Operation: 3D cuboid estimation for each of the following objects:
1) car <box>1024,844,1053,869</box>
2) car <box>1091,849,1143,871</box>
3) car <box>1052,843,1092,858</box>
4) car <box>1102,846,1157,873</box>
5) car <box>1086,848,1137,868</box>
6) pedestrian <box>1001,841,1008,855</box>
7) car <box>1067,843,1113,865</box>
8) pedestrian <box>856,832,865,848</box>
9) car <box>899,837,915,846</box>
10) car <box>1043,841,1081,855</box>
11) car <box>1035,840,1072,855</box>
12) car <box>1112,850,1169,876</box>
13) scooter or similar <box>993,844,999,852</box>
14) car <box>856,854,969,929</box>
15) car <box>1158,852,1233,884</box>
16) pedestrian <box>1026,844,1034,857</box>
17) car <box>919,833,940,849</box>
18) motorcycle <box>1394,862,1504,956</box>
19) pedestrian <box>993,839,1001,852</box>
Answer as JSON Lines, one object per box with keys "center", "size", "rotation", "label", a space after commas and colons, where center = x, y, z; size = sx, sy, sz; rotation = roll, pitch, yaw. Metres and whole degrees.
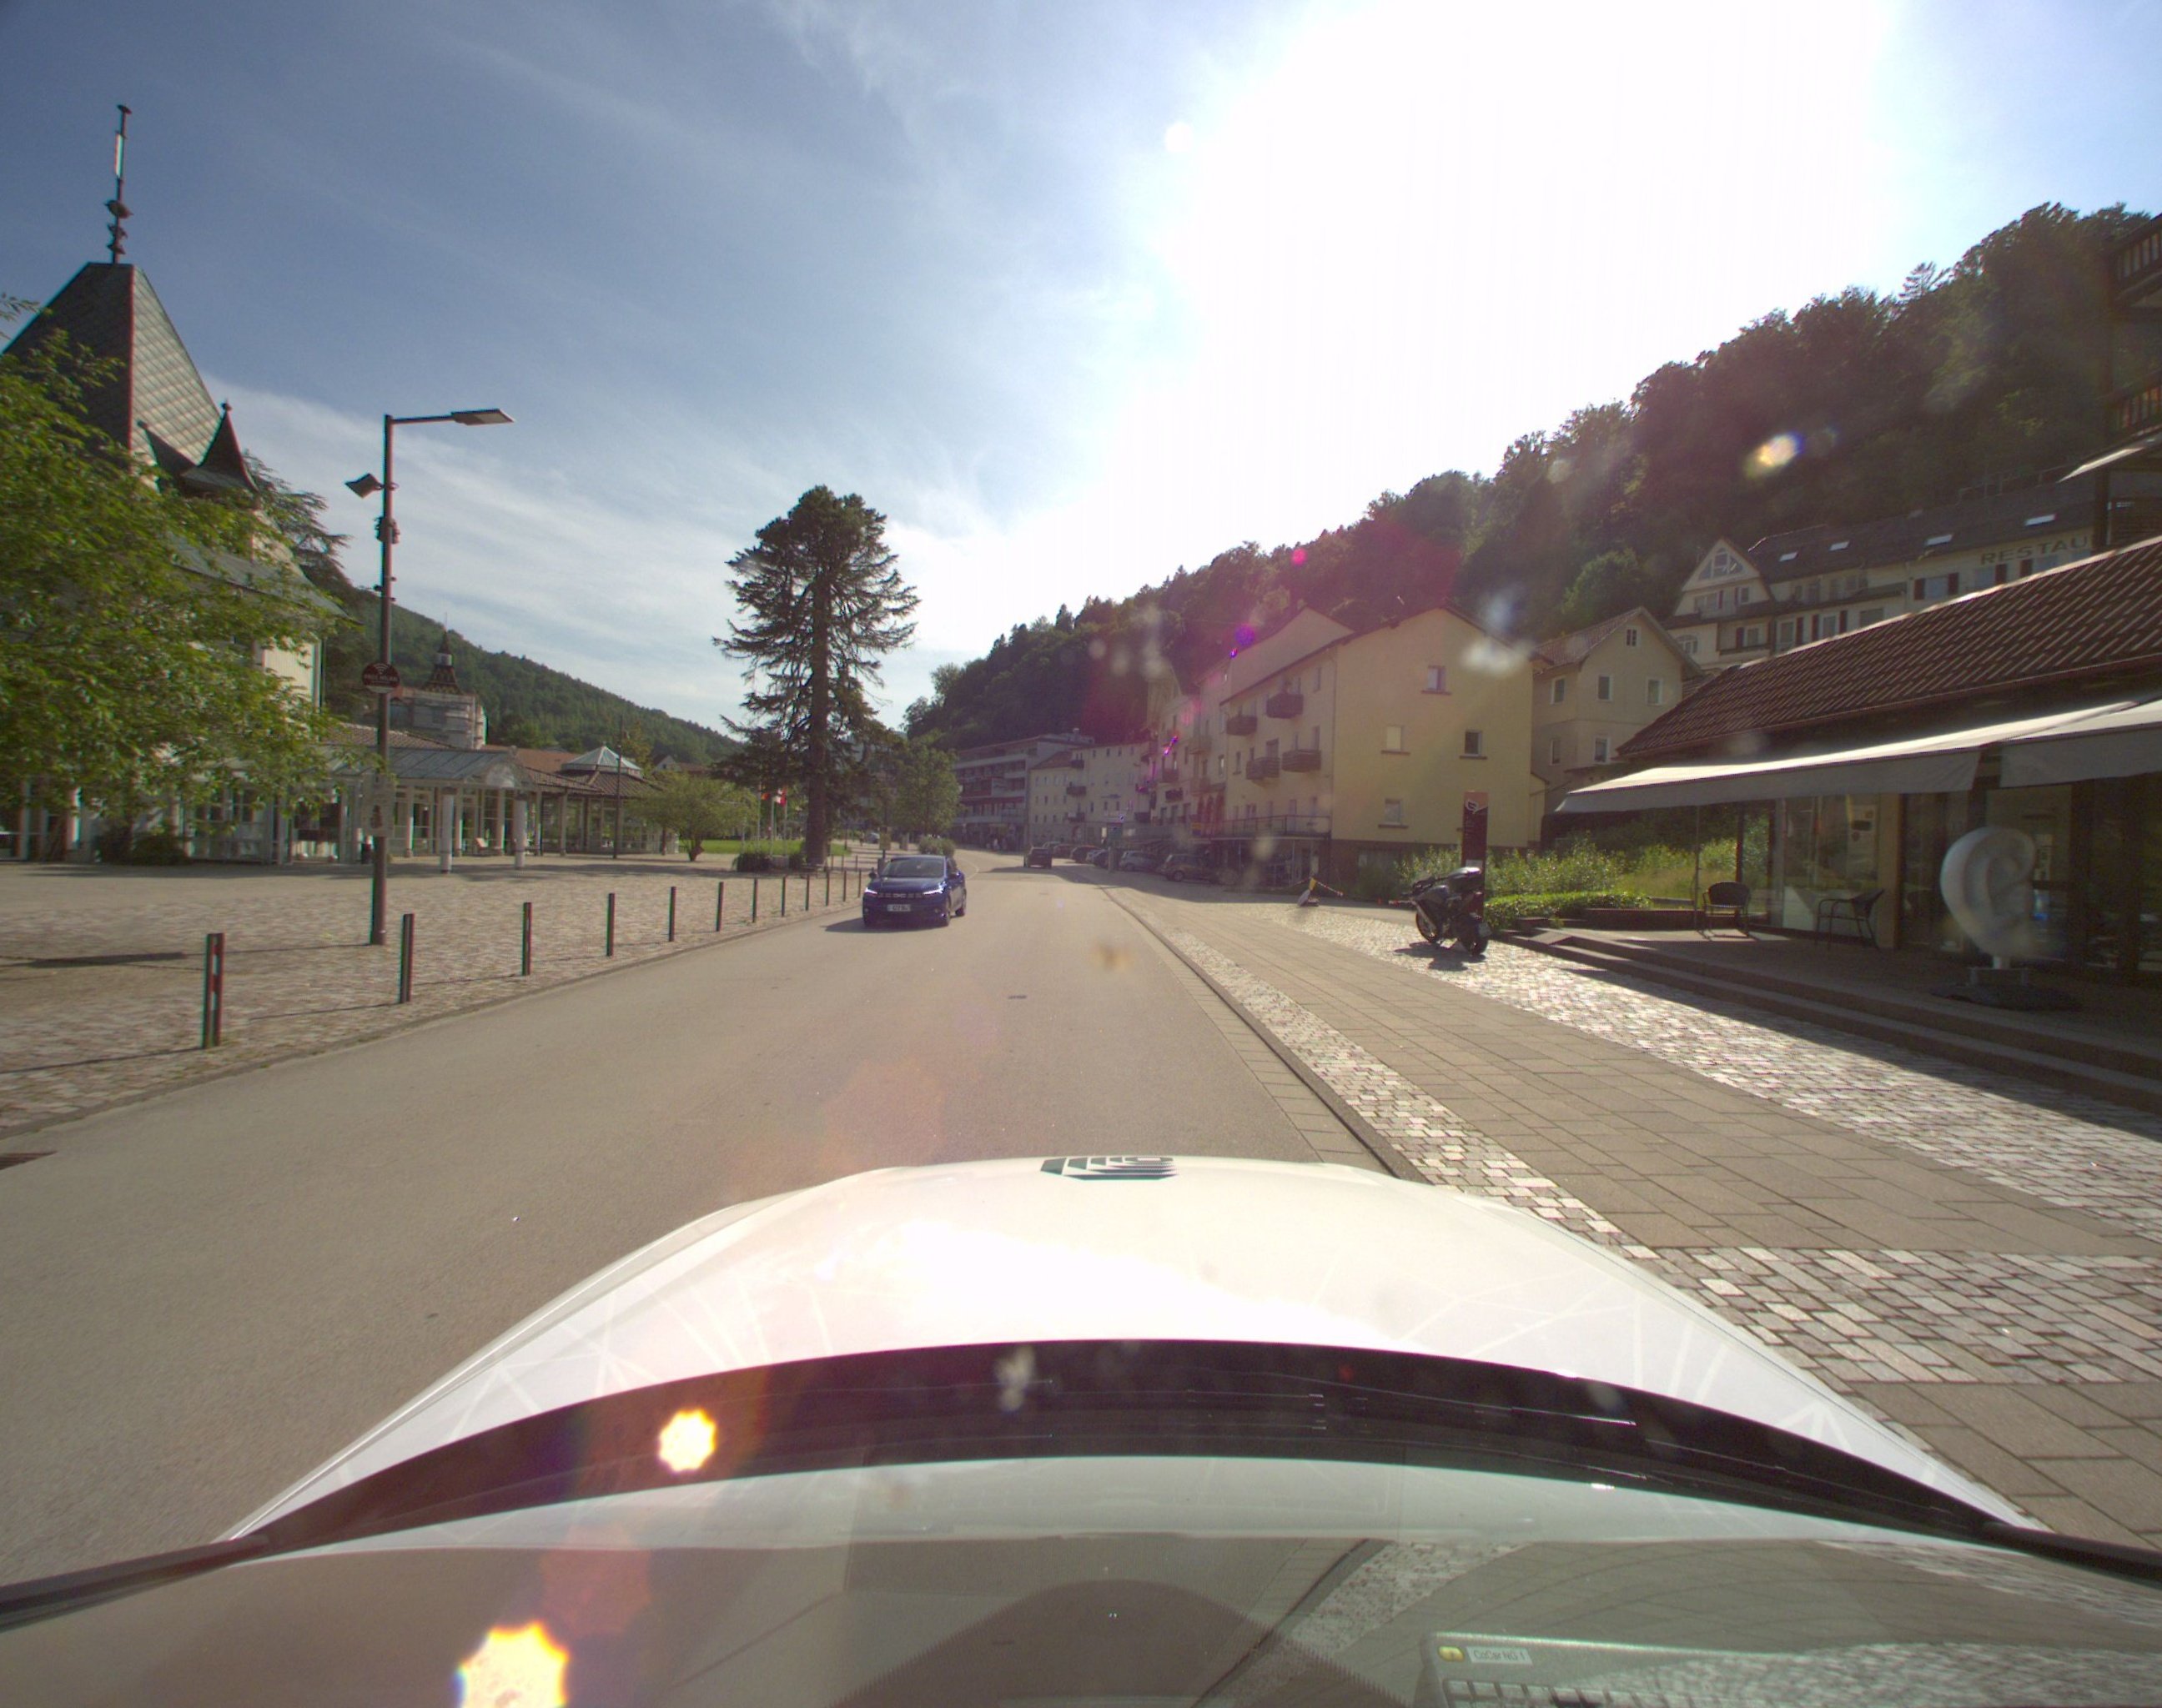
{"center": [-3.236, 0.177, 61.021], "size": [1.727, 1.574, 3.742], "rotation": [3, 2, -9], "label": "car"}
{"center": [2.940, 0.472, 66.536], "size": [3.906, 1.460, 1.732], "rotation": [4, 0, -7], "label": "car"}
{"center": [-1.026, -0.429, 89.477], "size": [4.032, 1.516, 1.757], "rotation": [-1, 3, -28], "label": "car"}
{"center": [3.795, 0.431, 63.844], "size": [3.906, 1.804, 1.853], "rotation": [5, -1, -7], "label": "car"}
{"center": [2.686, 0.378, 73.113], "size": [4.349, 1.461, 1.769], "rotation": [4, -1, -5], "label": "car"}
{"center": [-9.916, -0.805, 105.511], "size": [0.673, 1.728, 0.701], "rotation": [3, 0, -30], "label": "pedestrian"}
{"center": [0.882, 0.003, 77.828], "size": [4.080, 1.666, 1.768], "rotation": [5, 0, -7], "label": "car"}
{"center": [-26.016, -1.658, 96.158], "size": [0.872, 1.815, 0.685], "rotation": [3, 0, -29], "label": "pedestrian"}
{"center": [-33.319, -2.405, 155.797], "size": [1.687, 1.620, 3.961], "rotation": [3, 1, -31], "label": "car"}
{"center": [-2.159, -0.711, 92.926], "size": [3.882, 1.549, 1.757], "rotation": [-1, 3, -28], "label": "car"}
{"center": [-3.205, -0.778, 95.335], "size": [3.882, 1.612, 1.757], "rotation": [-1, 3, -28], "label": "car"}
{"center": [4.466, 0.661, 61.152], "size": [3.906, 1.589, 1.771], "rotation": [5, 1, -7], "label": "car"}
{"center": [-10.976, -0.812, 105.696], "size": [0.600, 0.950, 0.470], "rotation": [3, 0, -30], "label": "scooter or similar"}
{"center": [-3.621, 0.733, 18.224], "size": [1.736, 1.462, 4.185], "rotation": [0, 0, -1], "label": "car"}
{"center": [6.660, 0.796, 47.497], "size": [3.859, 1.554, 1.755], "rotation": [4, 0, -10], "label": "car"}
{"center": [-5.730, -0.445, 91.203], "size": [0.741, 1.442, 0.626], "rotation": [0, 1, -37], "label": "pedestrian"}
{"center": [-18.794, -1.628, 100.833], "size": [1.860, 1.953, 4.985], "rotation": [1, 1, -19], "label": "car"}
{"center": [5.715, 0.803, 12.801], "size": [0.695, 1.296, 2.211], "rotation": [-1, 0, -1], "label": "motorcycle"}
{"center": [-10.880, -1.144, 105.549], "size": [0.762, 1.593, 0.622], "rotation": [3, 0, -30], "label": "pedestrian"}
